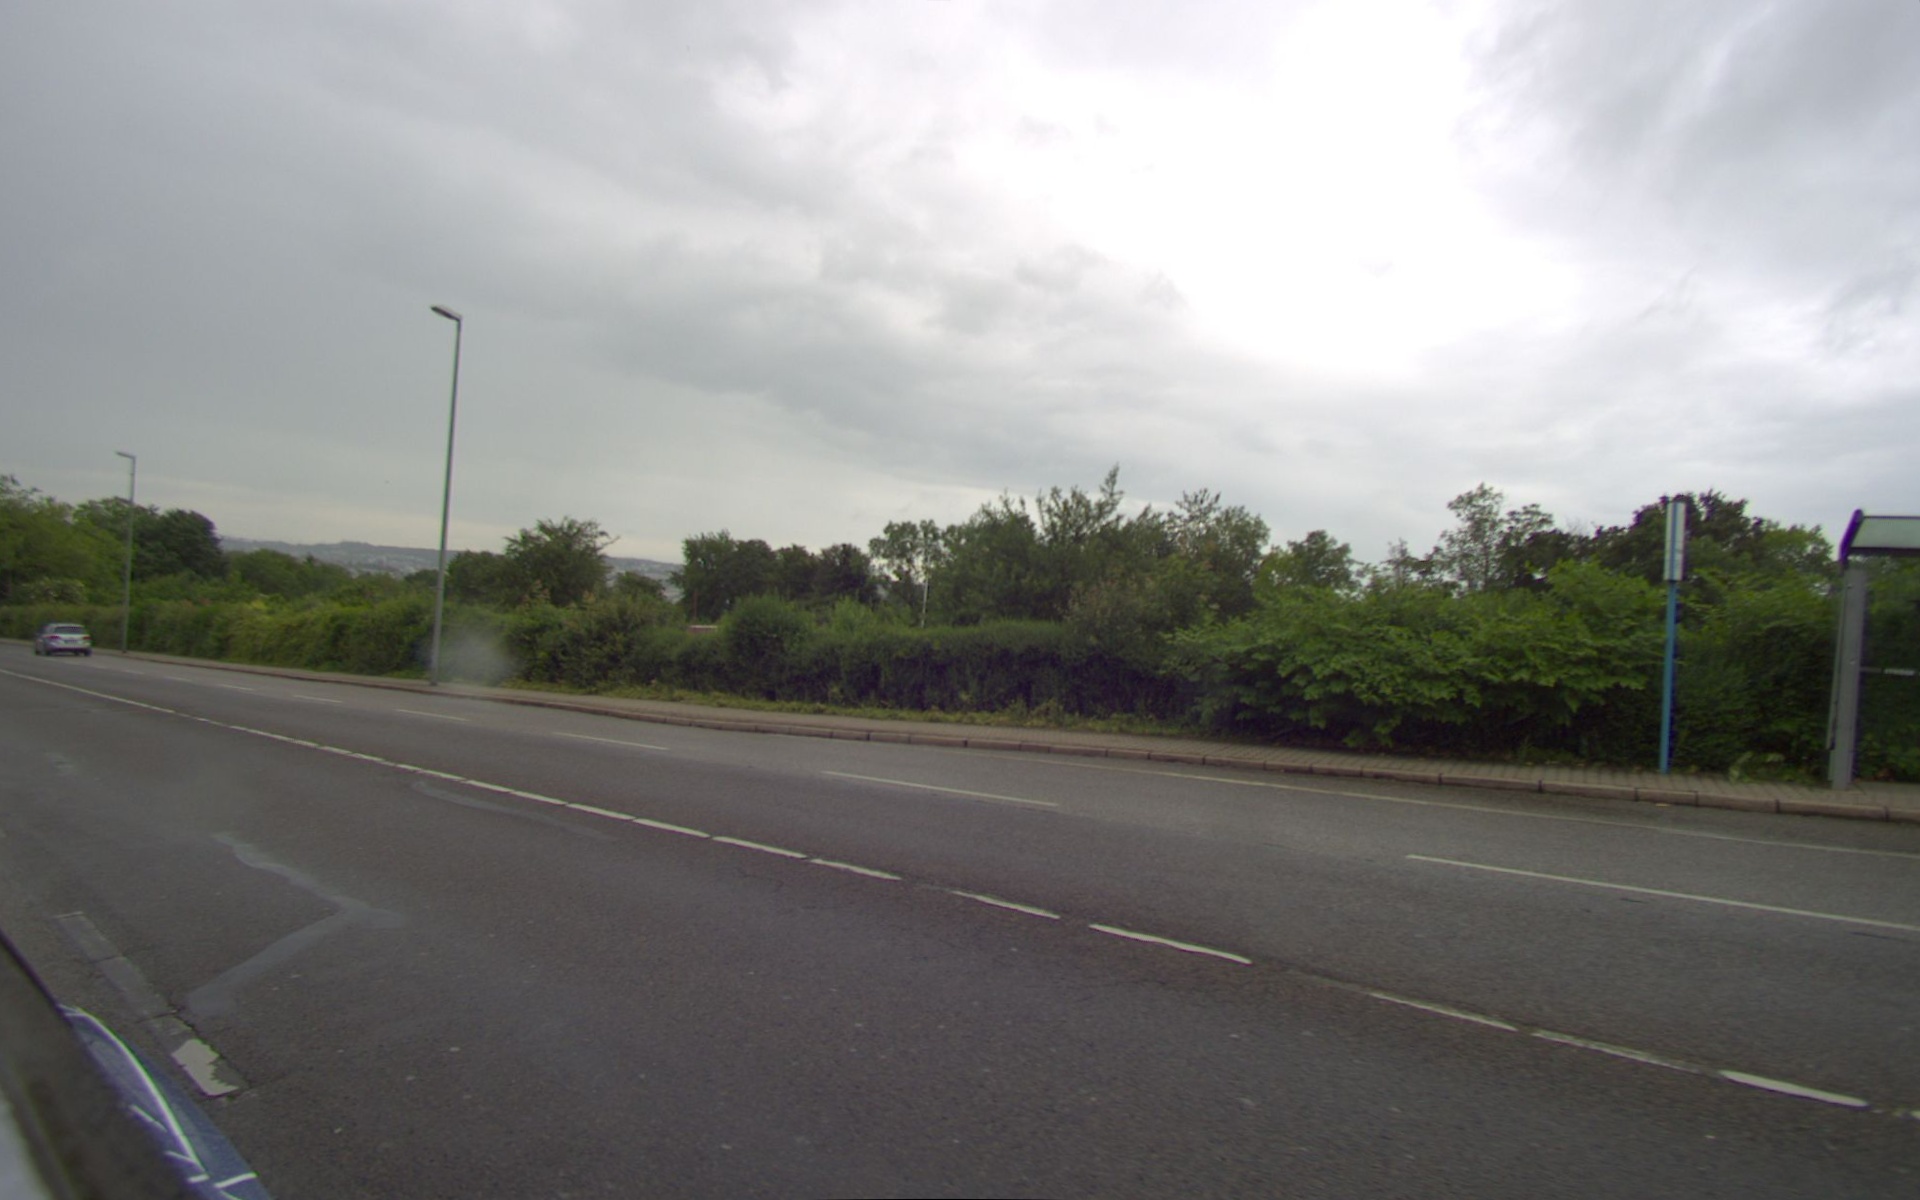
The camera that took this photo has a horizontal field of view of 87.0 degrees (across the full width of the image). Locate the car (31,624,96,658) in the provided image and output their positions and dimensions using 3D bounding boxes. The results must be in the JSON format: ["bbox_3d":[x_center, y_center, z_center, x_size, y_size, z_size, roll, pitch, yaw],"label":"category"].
[{"bbox_3d":[-44.517,2.007,50.253,3.996,1.580,1.738,-1,-4,40],"label":"car"}]
